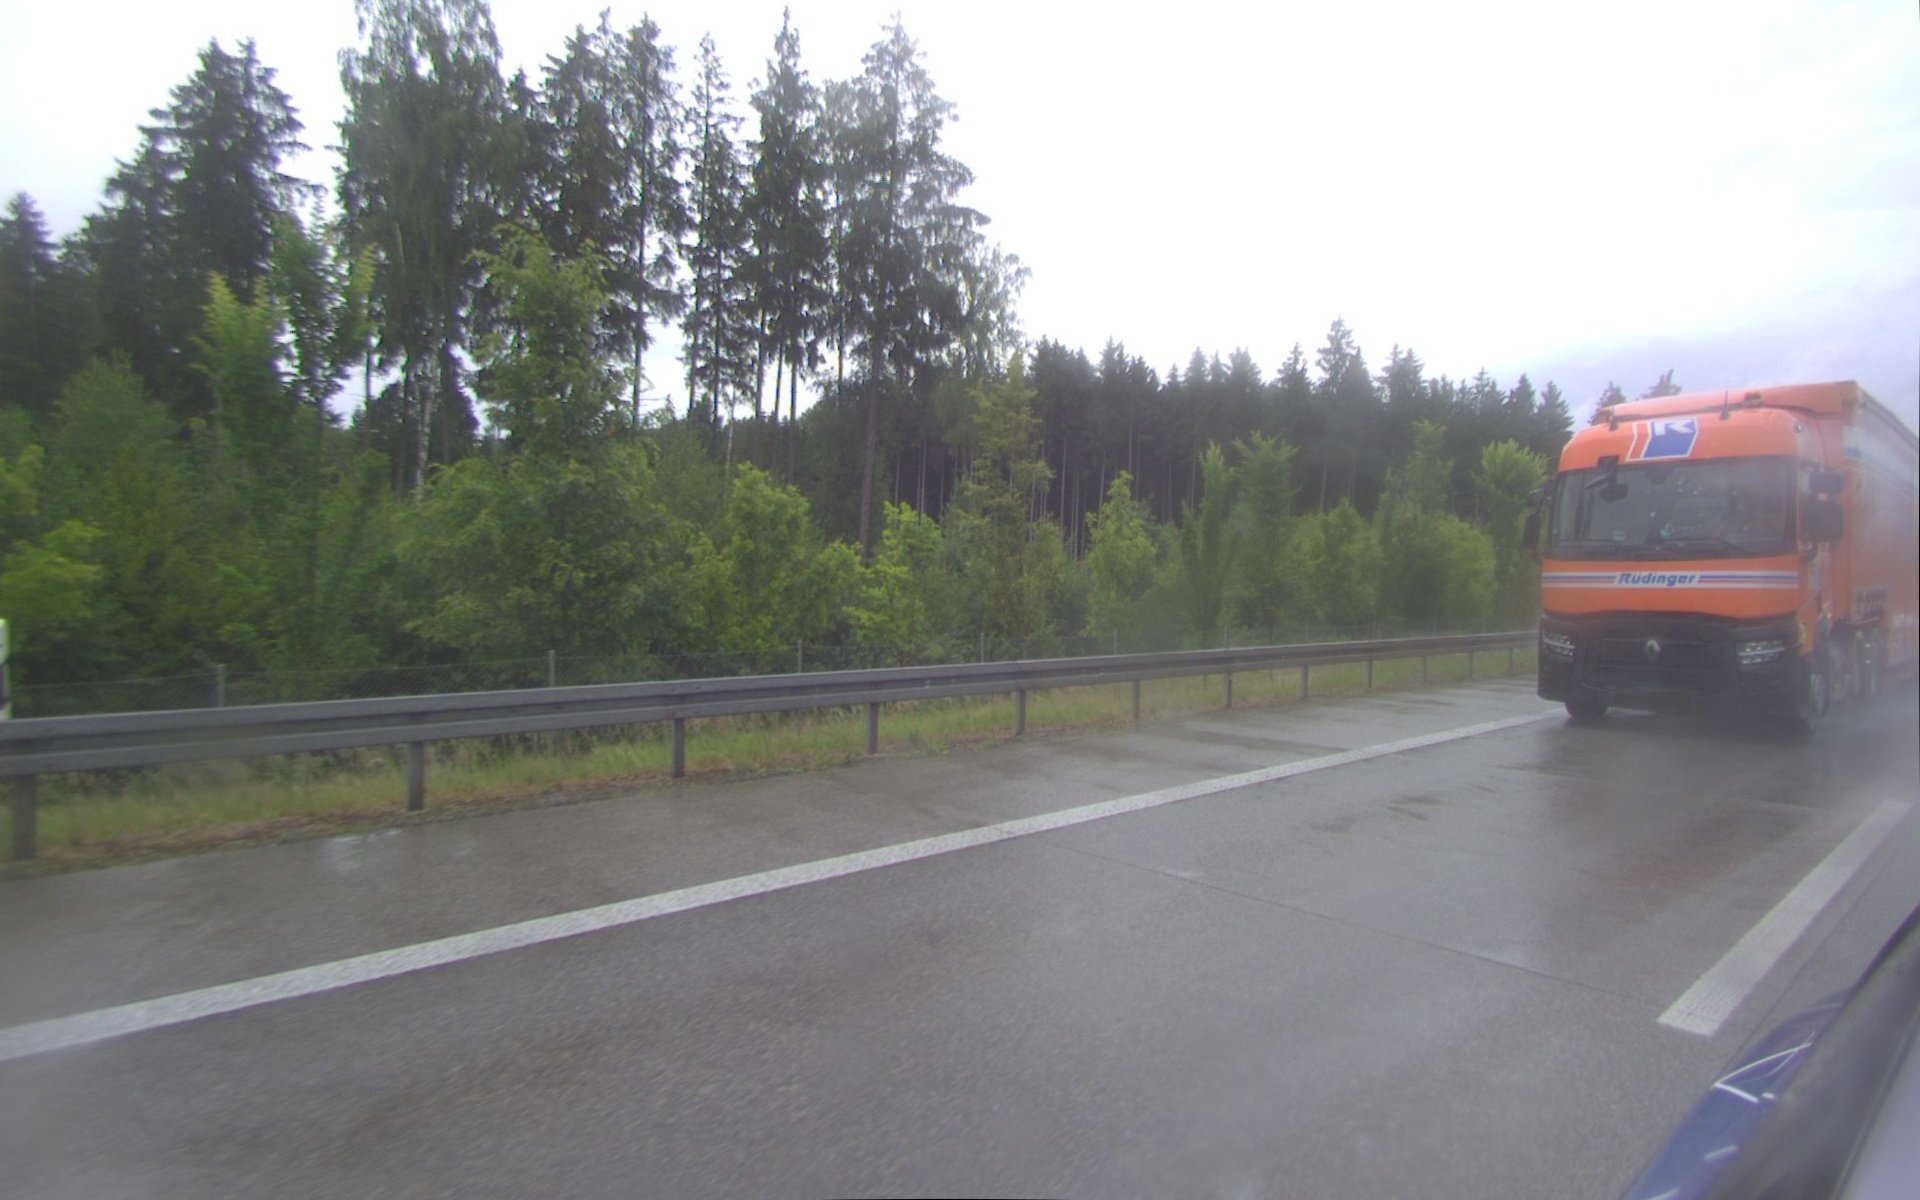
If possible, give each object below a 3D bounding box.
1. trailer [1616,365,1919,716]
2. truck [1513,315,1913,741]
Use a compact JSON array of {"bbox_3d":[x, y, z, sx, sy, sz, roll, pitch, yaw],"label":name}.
[{"bbox_3d":[15.094,-0.802,17.443,12.778,4.207,2.801,0,3,-41],"label":"trailer"},{"bbox_3d":[9.545,-0.777,12.663,5.342,4.137,2.765,0,3,-41],"label":"truck"}]
